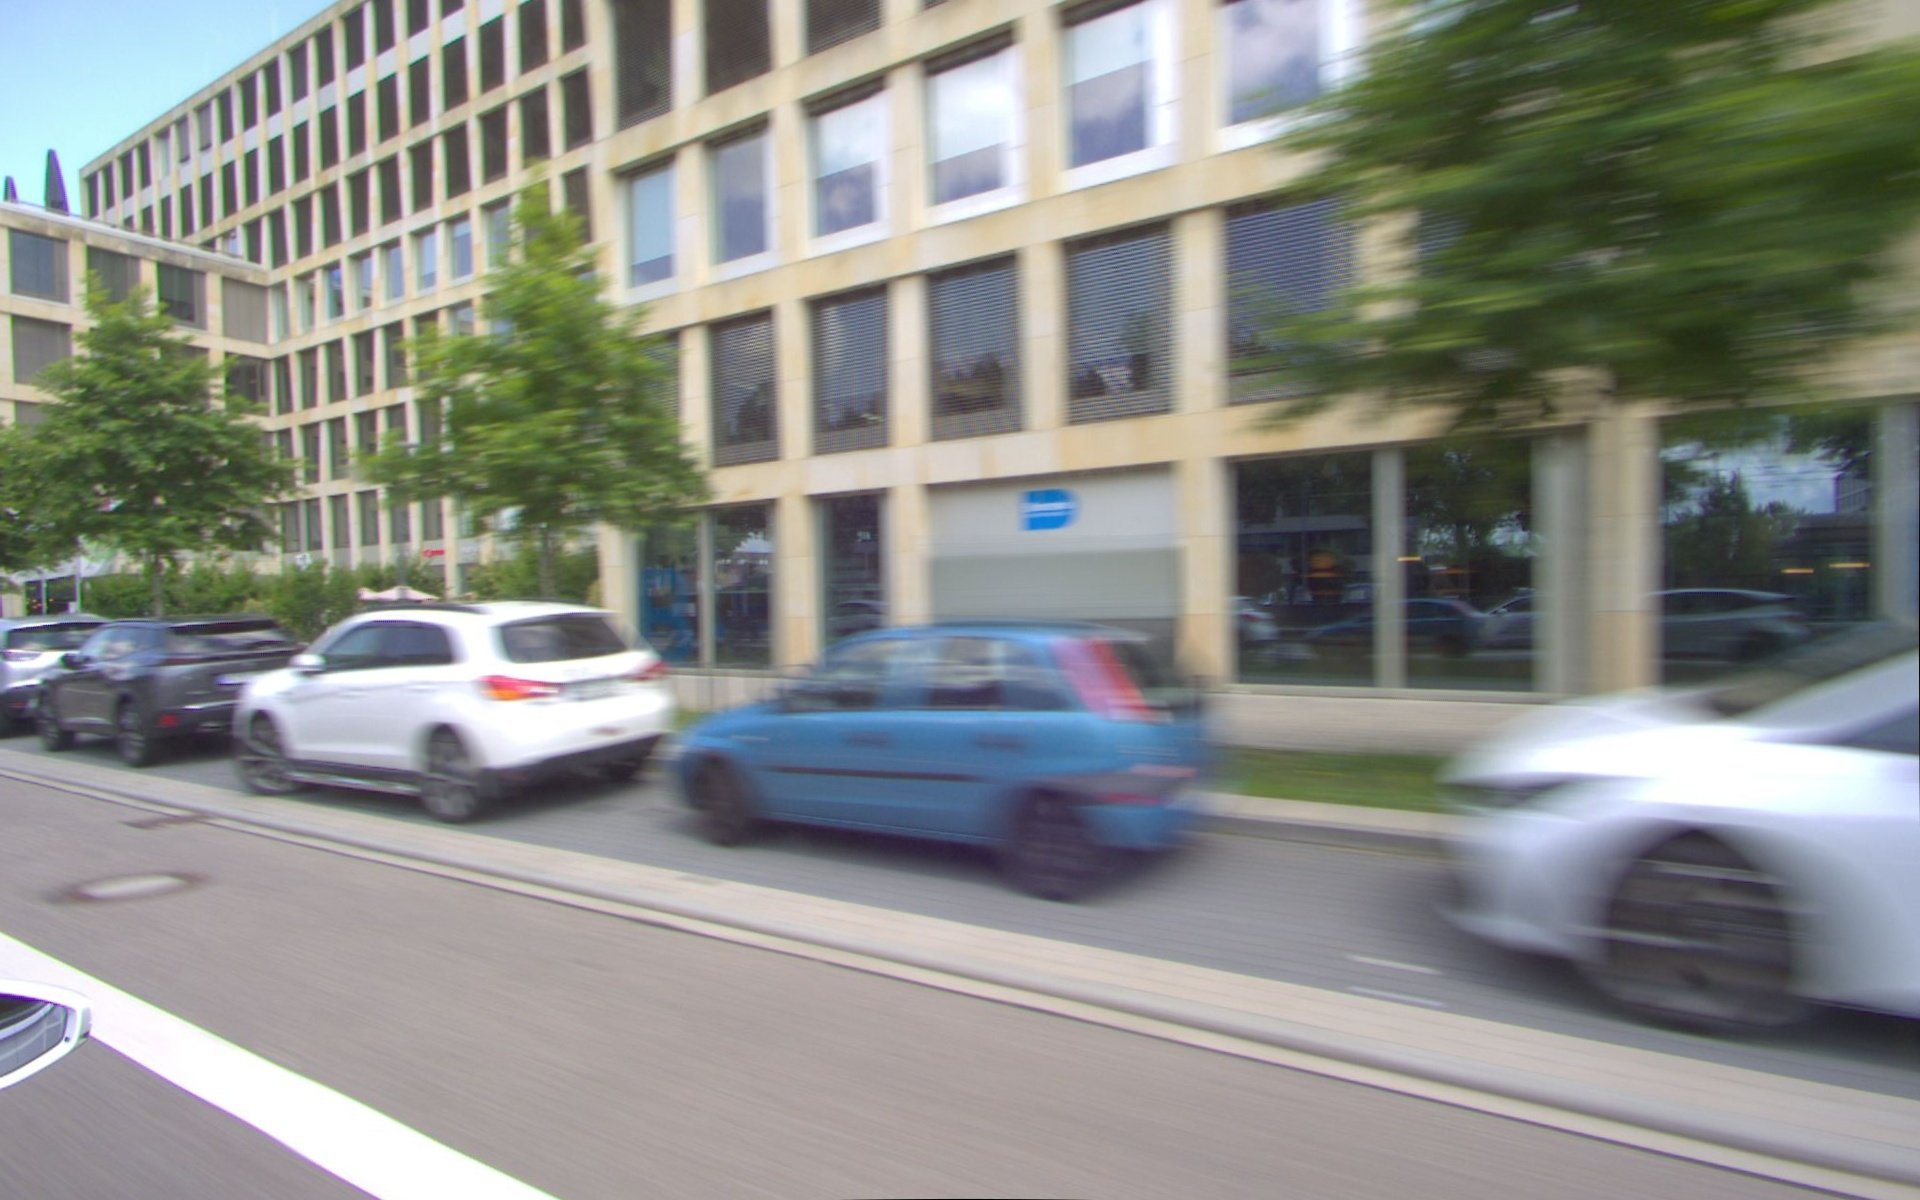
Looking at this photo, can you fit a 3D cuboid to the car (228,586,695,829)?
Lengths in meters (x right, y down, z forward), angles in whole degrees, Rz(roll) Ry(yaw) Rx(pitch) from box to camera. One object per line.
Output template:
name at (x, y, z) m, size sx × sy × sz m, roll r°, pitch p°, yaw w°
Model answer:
car at (-4.381, 0.760, 8.632) m, size 4.092 × 1.628 × 1.681 m, roll -1°, pitch 2°, yaw 32°

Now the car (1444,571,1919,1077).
car at (4.042, 0.672, 3.463) m, size 4.099 × 1.550 × 1.788 m, roll -1°, pitch 2°, yaw 32°

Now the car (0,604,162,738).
car at (-13.612, 0.951, 14.622) m, size 3.931 × 1.656 × 1.682 m, roll -1°, pitch 2°, yaw 30°

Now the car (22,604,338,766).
car at (-9.236, 0.891, 11.791) m, size 3.870 × 1.569 × 1.681 m, roll -1°, pitch 2°, yaw 32°

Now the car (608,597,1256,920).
car at (-0.280, 0.779, 6.472) m, size 3.894 × 1.477 × 1.681 m, roll -1°, pitch 2°, yaw 32°

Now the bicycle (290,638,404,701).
bicycle at (-10.085, 1.133, 16.512) m, size 0.498 × 0.928 × 1.491 m, roll -4°, pitch -2°, yaw 34°
